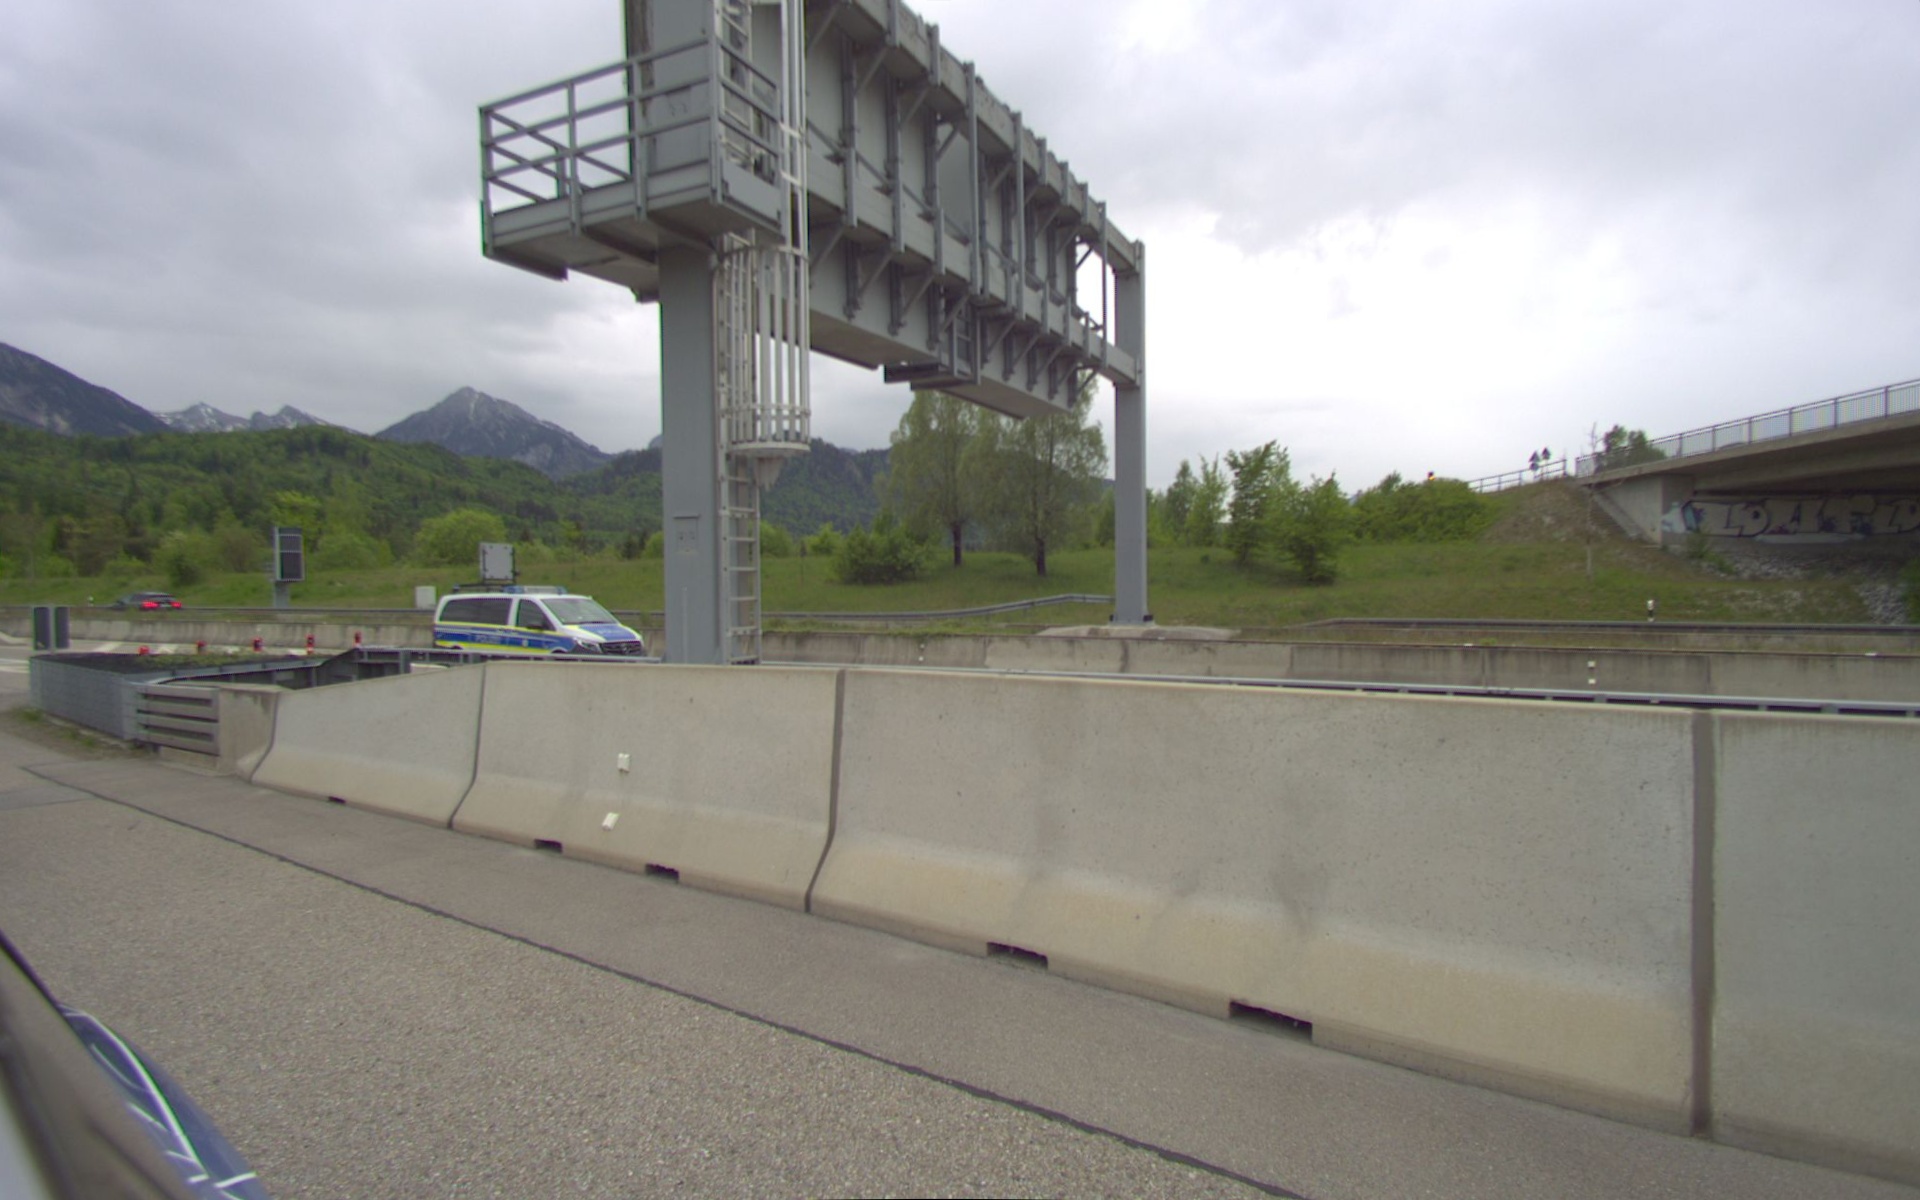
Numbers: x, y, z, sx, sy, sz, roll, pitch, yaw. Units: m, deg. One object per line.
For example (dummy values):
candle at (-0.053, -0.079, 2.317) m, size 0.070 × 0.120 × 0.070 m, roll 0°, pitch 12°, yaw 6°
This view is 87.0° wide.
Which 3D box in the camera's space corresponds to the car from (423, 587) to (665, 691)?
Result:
car at (-8.951, 0.774, 21.702) m, size 5.028 × 2.029 × 2.085 m, roll 0°, pitch -1°, yaw 28°

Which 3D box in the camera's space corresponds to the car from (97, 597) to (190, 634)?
car at (-44.804, 0.851, 55.504) m, size 5.081 × 1.970 × 1.974 m, roll 0°, pitch -1°, yaw 26°
